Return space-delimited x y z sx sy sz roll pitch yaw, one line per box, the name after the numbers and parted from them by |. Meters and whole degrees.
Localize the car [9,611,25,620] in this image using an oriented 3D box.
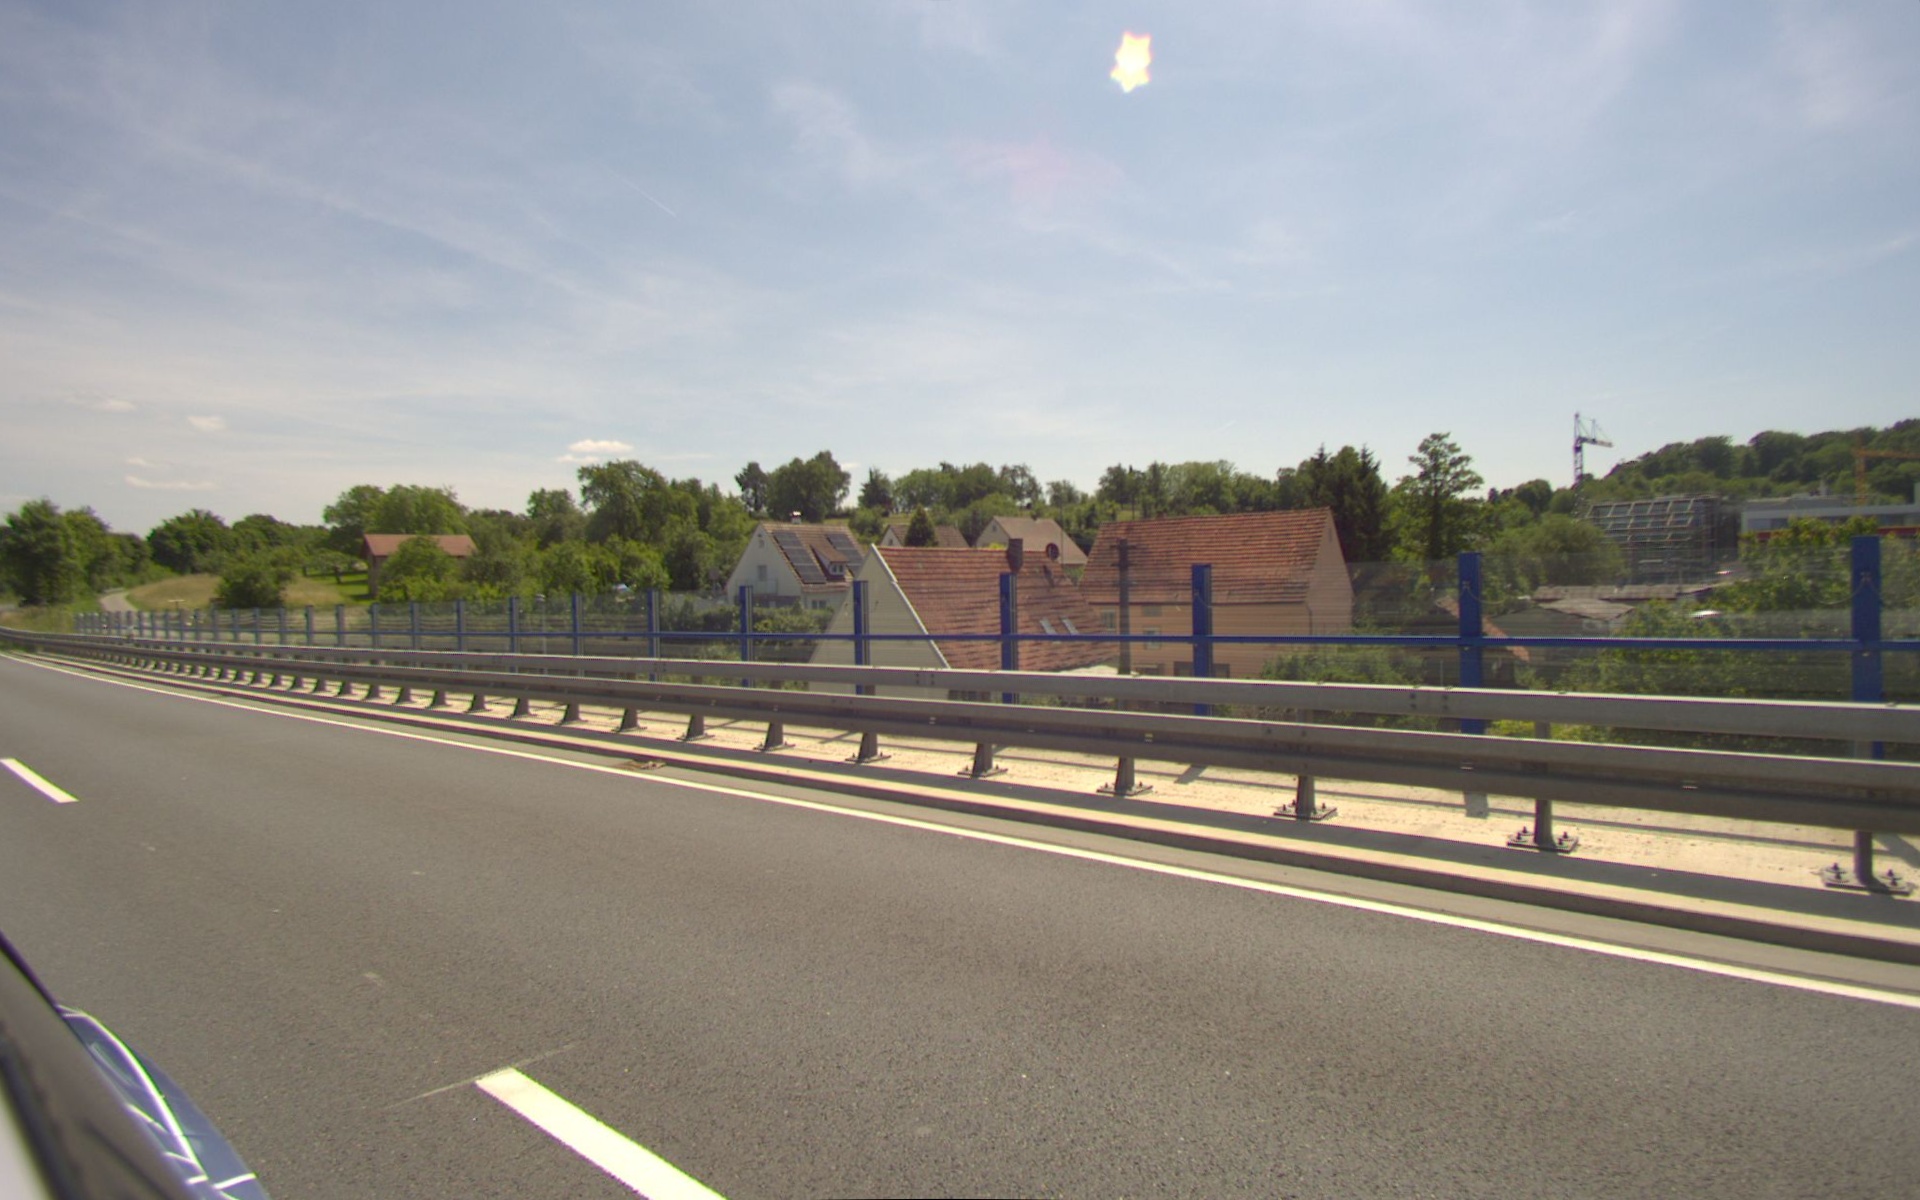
-151.801 2.491 162.877 1.625 1.452 4.165 1 -2 -40 | car
